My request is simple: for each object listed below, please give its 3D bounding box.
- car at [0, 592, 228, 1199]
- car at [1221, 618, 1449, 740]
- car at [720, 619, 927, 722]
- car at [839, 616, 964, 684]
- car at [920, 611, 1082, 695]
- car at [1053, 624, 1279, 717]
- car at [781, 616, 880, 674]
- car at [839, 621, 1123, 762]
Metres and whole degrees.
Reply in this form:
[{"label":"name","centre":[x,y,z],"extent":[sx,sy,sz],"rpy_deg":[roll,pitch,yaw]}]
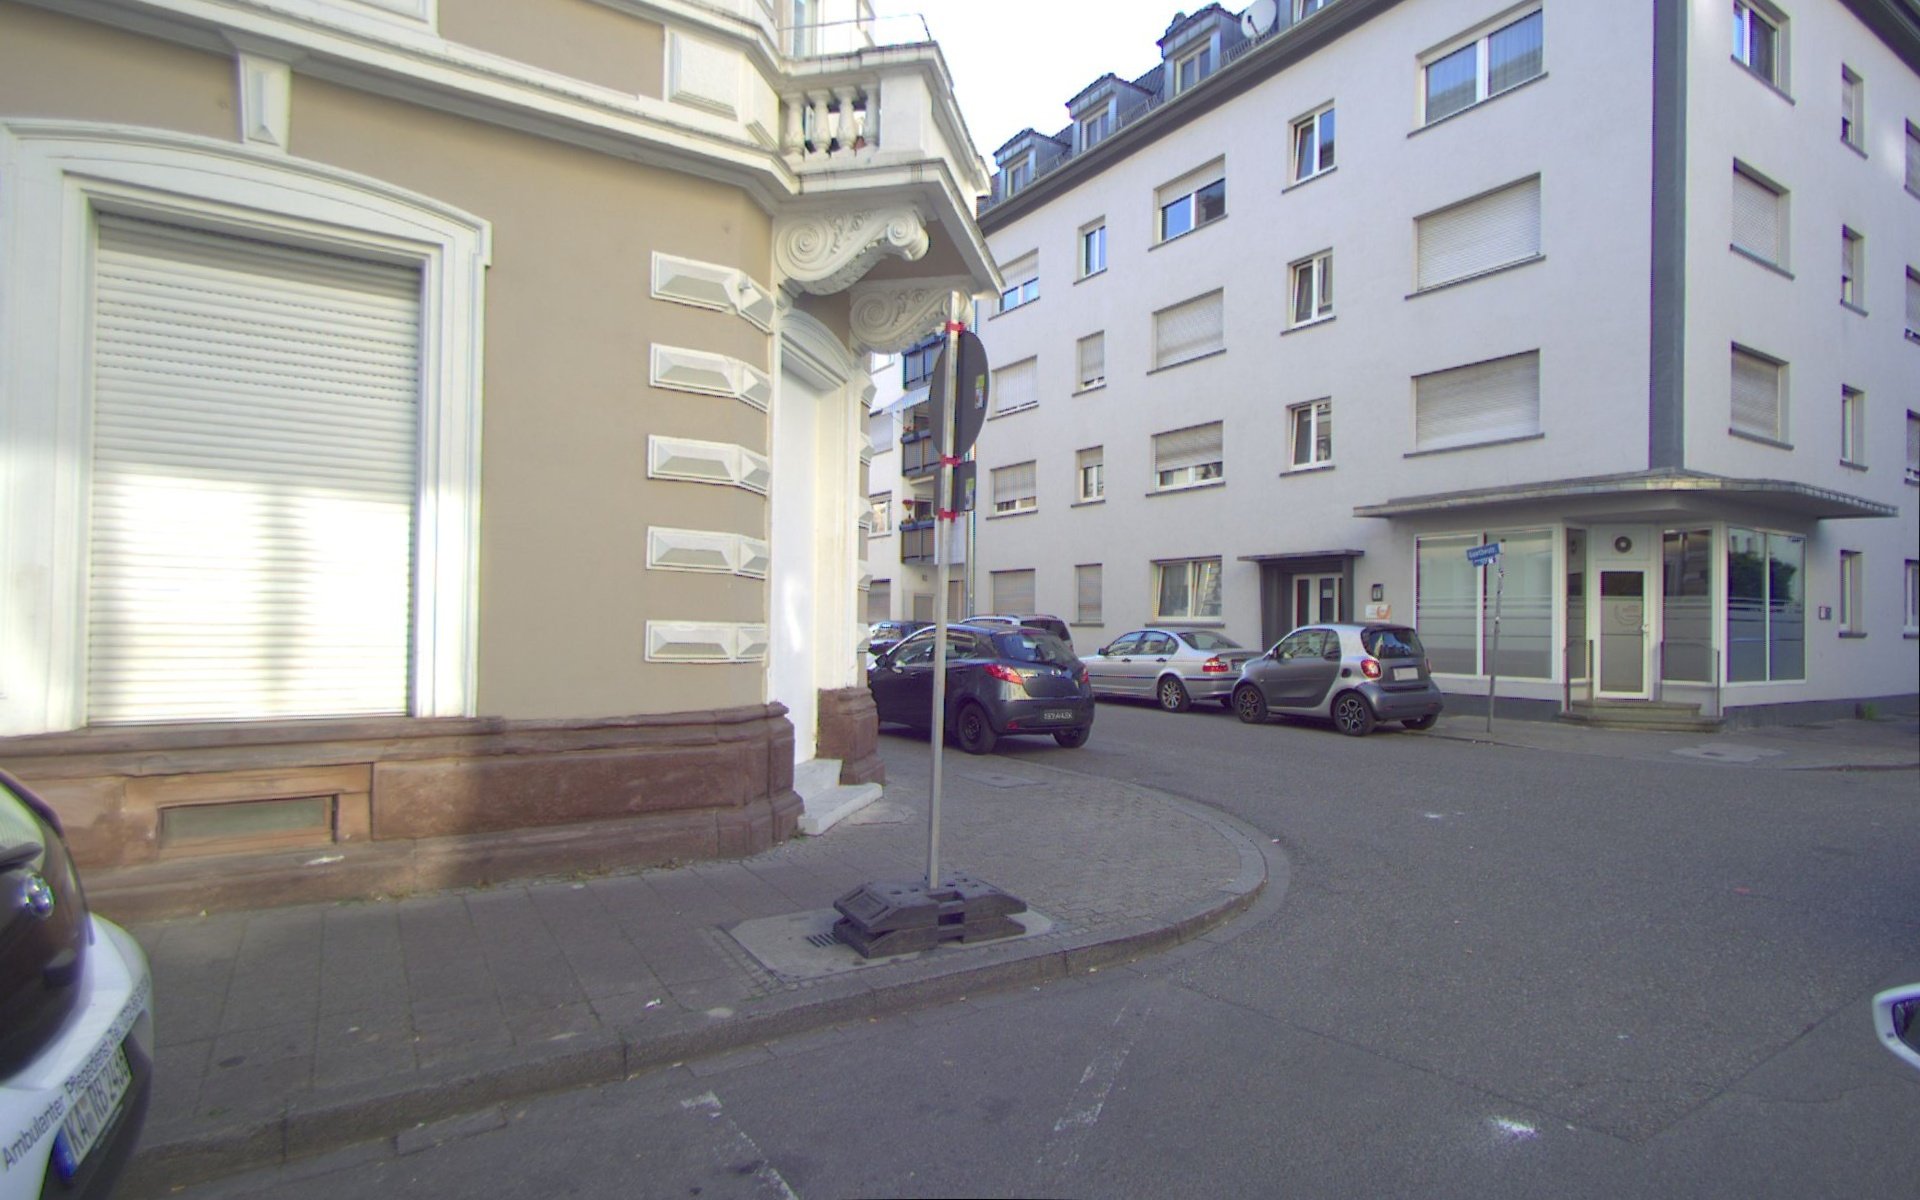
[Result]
[{"label":"car","centre":[-3.431,0.773,0.964],"extent":[4.218,1.527,1.911],"rpy_deg":[1,-3,-31]},{"label":"car","centre":[5.485,1.087,14.922],"extent":[1.576,1.560,2.771],"rpy_deg":[1,0,-31]},{"label":"car","centre":[-2.424,1.073,16.846],"extent":[1.884,1.481,4.286],"rpy_deg":[1,-1,-32]},{"label":"car","centre":[-1.596,1.257,26.291],"extent":[1.587,1.560,3.685],"rpy_deg":[1,0,-34]},{"label":"car","centre":[0.827,1.107,22.481],"extent":[1.586,1.626,3.993],"rpy_deg":[1,0,-33]},{"label":"car","centre":[3.627,1.201,18.420],"extent":[1.586,1.422,4.179],"rpy_deg":[1,-1,-33]},{"label":"car","centre":[-3.944,1.306,30.270],"extent":[1.586,1.560,3.470],"rpy_deg":[1,0,-33]},{"label":"car","centre":[0.133,1.014,12.570],"extent":[1.713,1.470,3.639],"rpy_deg":[1,-1,-36]}]
